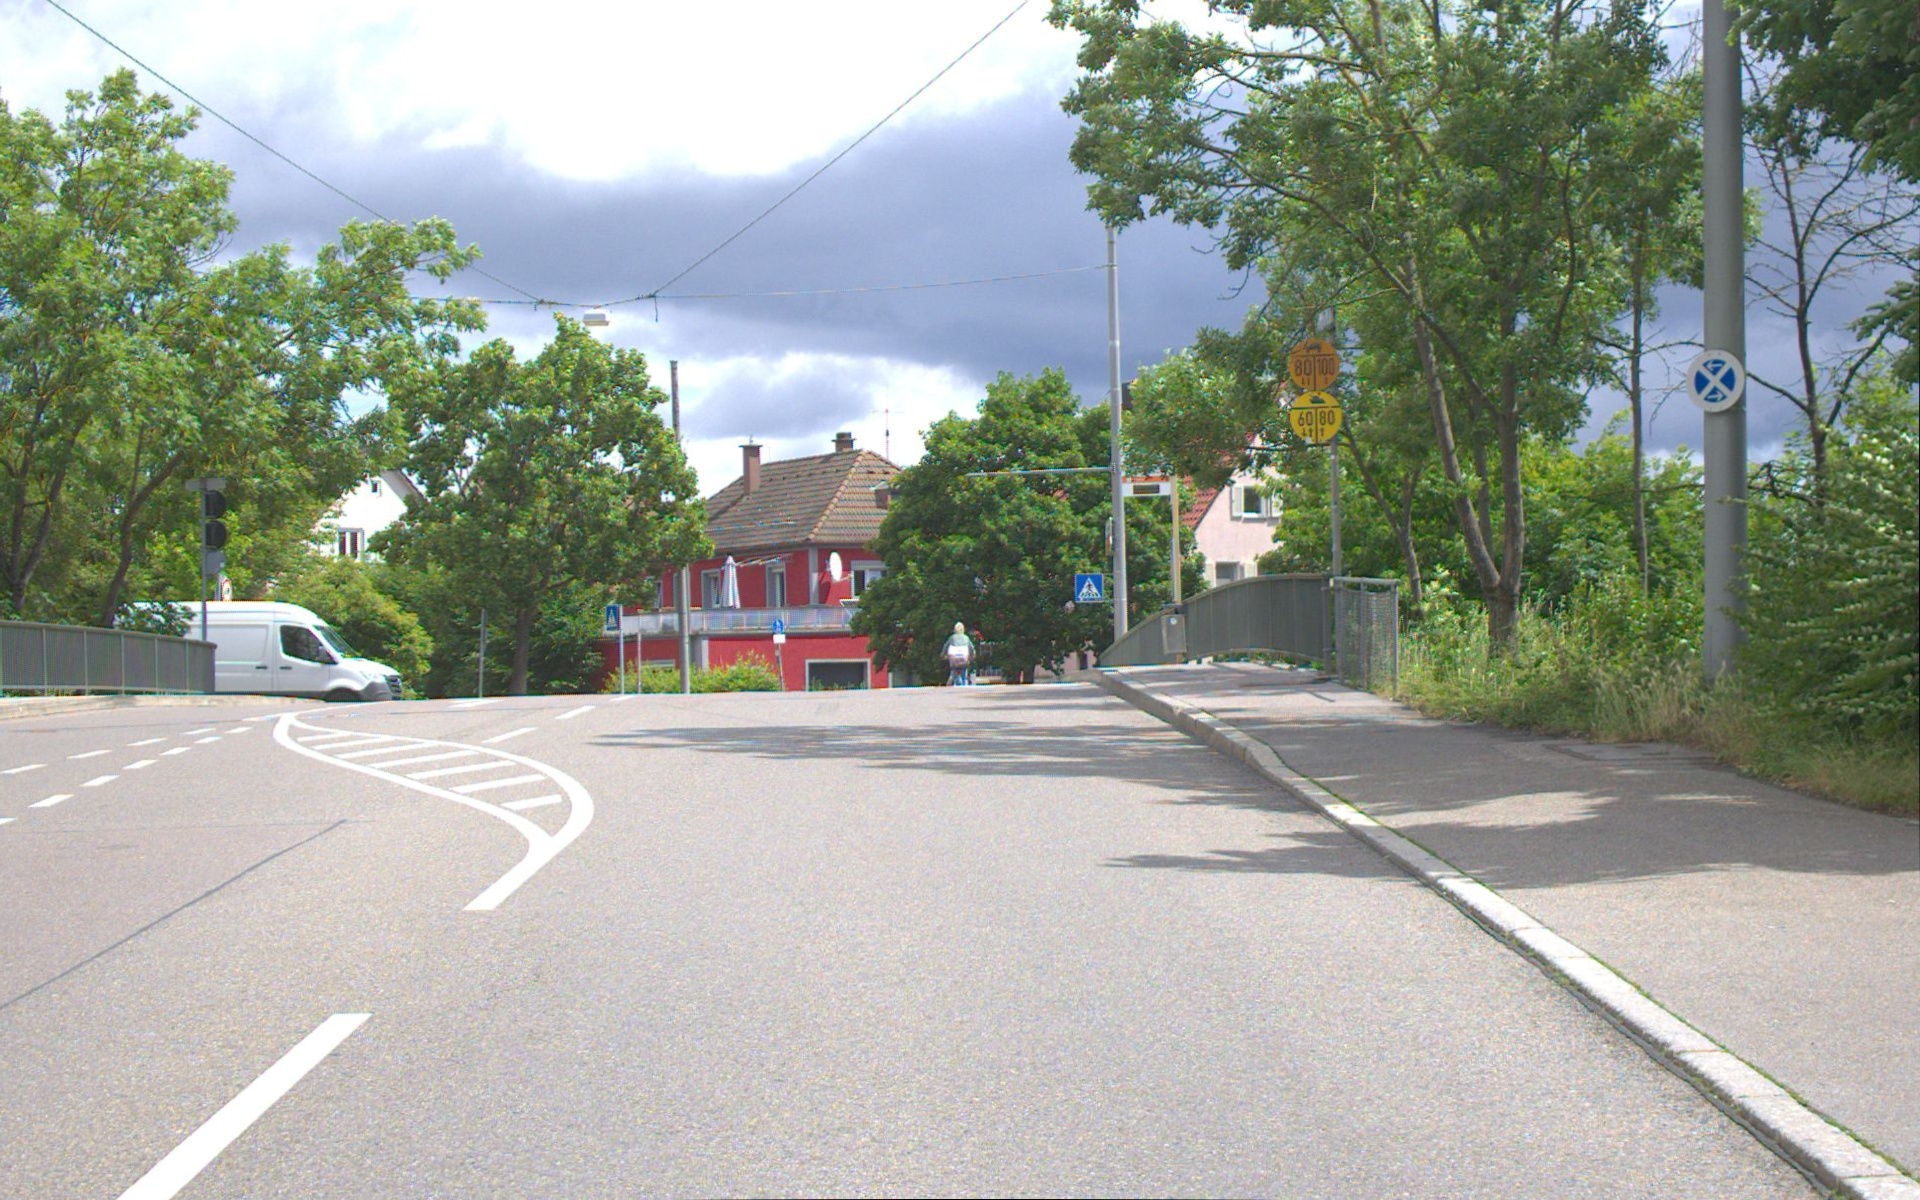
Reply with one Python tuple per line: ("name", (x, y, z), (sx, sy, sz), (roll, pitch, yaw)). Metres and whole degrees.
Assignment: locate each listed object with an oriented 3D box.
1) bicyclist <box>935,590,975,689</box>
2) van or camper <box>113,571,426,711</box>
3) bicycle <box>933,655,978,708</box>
("bicyclist", (-0.100, 0.771, 66.257), (0.684, 1.820, 1.080), (0, -5, 4))
("van or camper", (-14.128, 0.862, 70.538), (5.909, 2.559, 2.193), (-2, -4, 1))
("bicycle", (-0.081, 1.577, 66.302), (0.688, 0.875, 2.101), (0, -5, 4))
